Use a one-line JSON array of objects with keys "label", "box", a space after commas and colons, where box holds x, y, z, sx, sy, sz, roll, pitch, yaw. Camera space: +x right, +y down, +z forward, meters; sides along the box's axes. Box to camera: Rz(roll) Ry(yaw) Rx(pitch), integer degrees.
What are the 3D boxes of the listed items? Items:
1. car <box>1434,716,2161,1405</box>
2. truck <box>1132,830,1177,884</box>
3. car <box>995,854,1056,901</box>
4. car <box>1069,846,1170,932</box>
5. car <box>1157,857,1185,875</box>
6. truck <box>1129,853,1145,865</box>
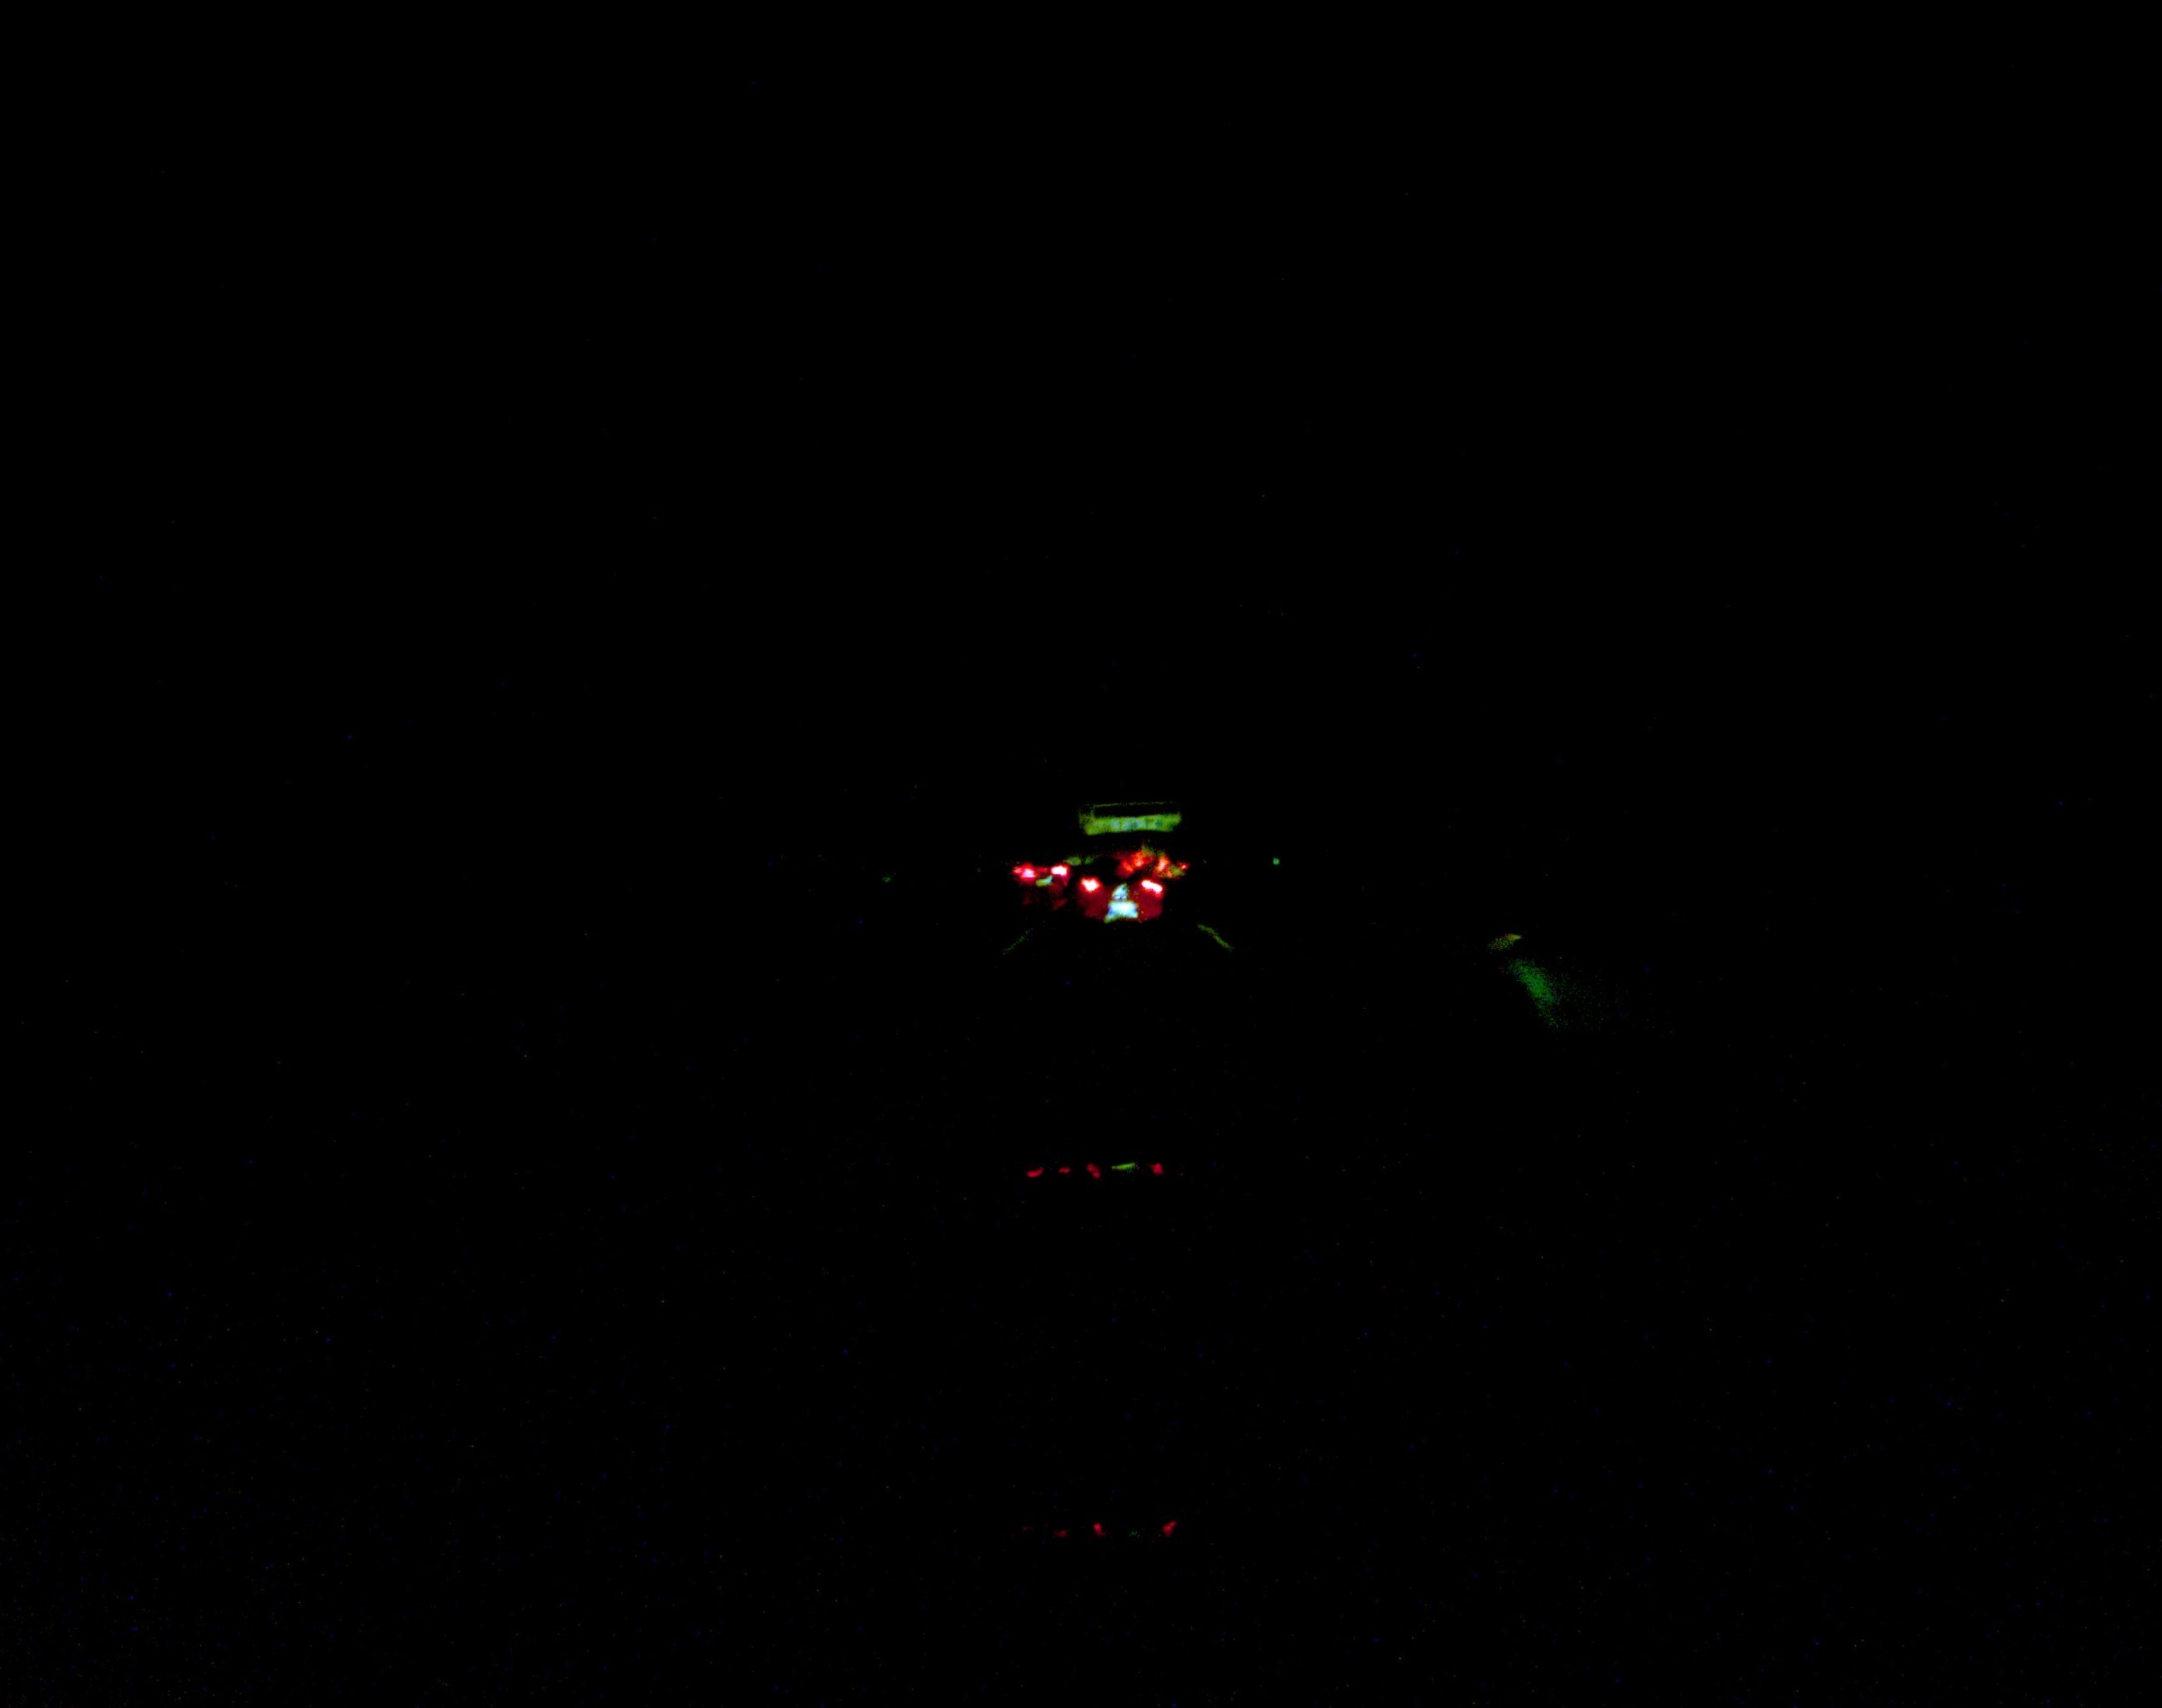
[{"label": "car", "box": [3.870, 0.555, 4.317, 1.945, 1.792, 5.126, 0, -1, 2]}, {"label": "truck", "box": [8.232, 0.390, 93.388, 4.151, 5.544, 13.080, -3, -1, 2]}, {"label": "car", "box": [-2.341, 0.974, 35.469, 1.985, 1.777, 4.890, -3, -1, 3]}, {"label": "car", "box": [0.850, 0.712, 18.329, 1.908, 1.594, 4.235, -3, -1, 2]}, {"label": "car", "box": [6.958, 0.904, 63.394, 1.883, 1.354, 4.001, 0, 0, 1]}, {"label": "truck", "box": [14.443, 1.329, 211.496, 3.821, 3.055, 11.008, 0, -1, 1]}]
